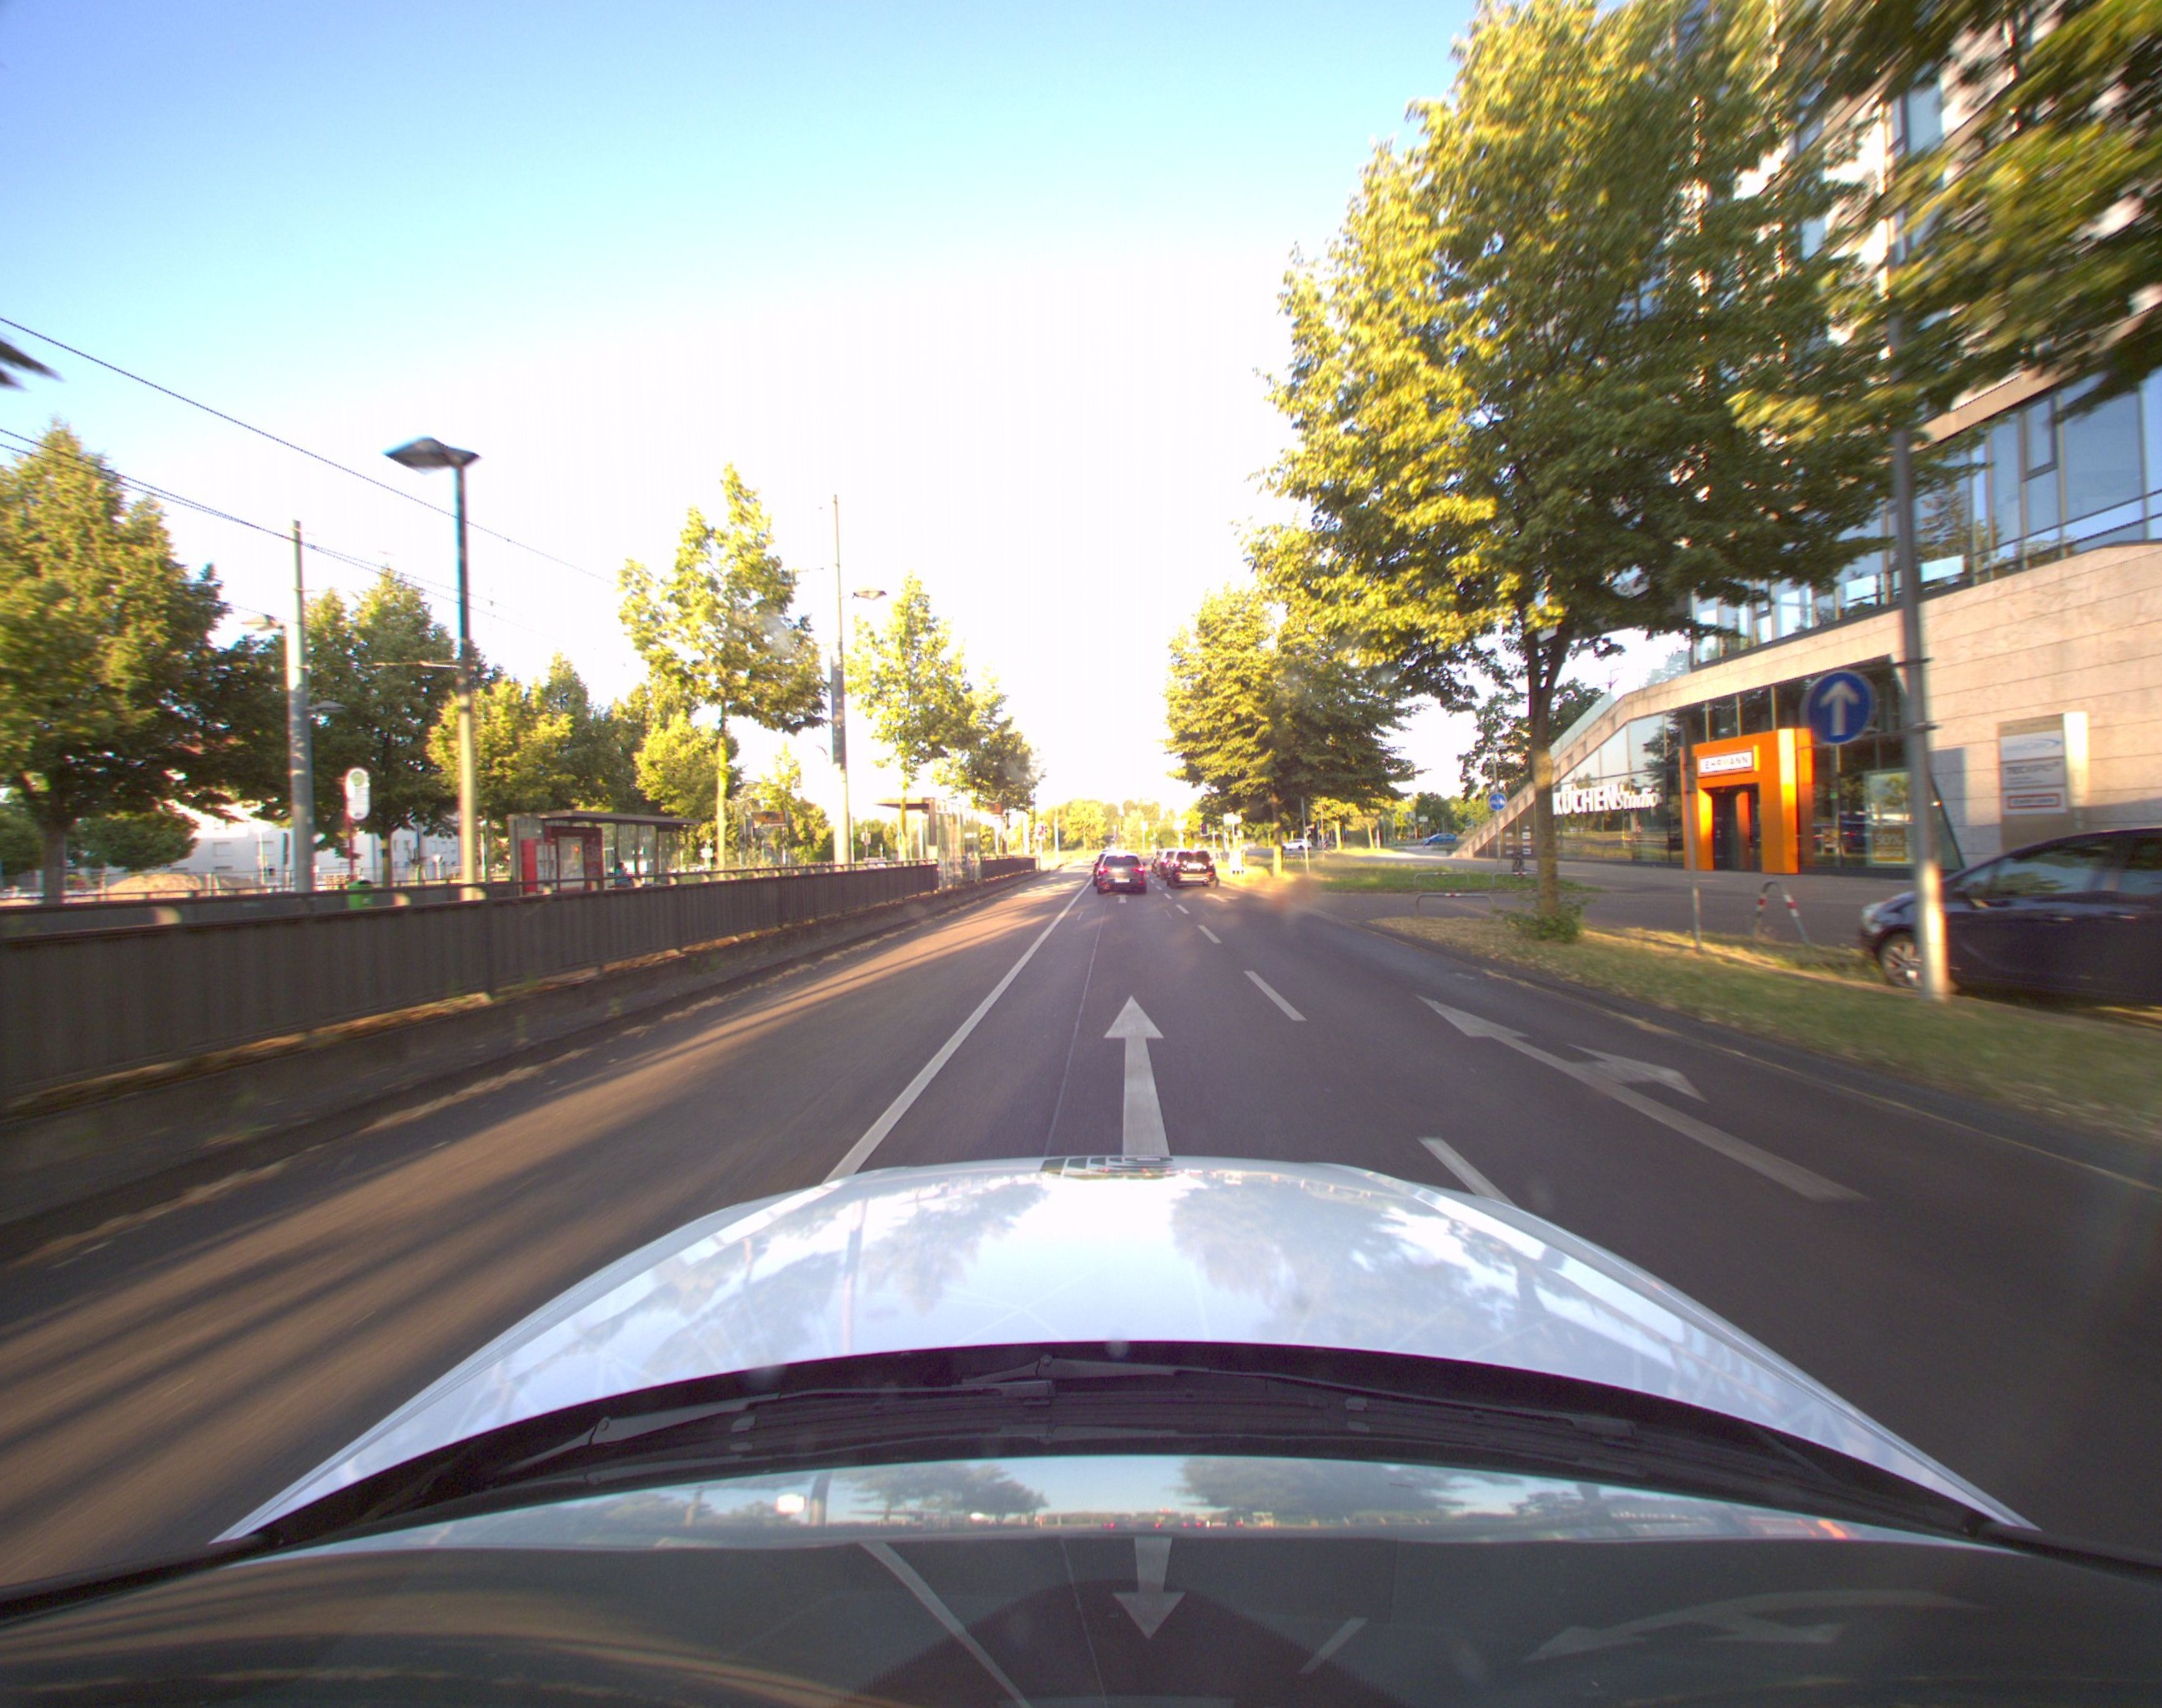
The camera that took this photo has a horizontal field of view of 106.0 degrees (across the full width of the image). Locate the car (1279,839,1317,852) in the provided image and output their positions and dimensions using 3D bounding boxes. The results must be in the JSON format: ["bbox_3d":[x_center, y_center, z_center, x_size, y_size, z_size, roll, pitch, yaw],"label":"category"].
[{"bbox_3d":[28.230,-1.108,105.935,4.383,1.486,1.930,-2,0,41],"label":"car"}]

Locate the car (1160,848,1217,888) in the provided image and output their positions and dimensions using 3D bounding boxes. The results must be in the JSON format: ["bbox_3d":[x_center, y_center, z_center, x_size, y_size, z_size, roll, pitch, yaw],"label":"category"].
[{"bbox_3d":[4.349,0.514,33.406,1.904,1.486,4.002,-2,0,2],"label":"car"}]

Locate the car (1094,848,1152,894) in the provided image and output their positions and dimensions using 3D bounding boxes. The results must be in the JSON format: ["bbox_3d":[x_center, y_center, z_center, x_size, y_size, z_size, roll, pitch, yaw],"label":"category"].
[{"bbox_3d":[1.475,0.566,29.478,1.904,1.486,4.002,-2,0,2],"label":"car"}]

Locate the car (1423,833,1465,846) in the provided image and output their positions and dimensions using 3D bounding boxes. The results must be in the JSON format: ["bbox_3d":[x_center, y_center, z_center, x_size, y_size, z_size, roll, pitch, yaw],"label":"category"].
[{"bbox_3d":[44.800,-1.755,100.464,4.396,1.486,1.924,-2,0,12],"label":"car"}]

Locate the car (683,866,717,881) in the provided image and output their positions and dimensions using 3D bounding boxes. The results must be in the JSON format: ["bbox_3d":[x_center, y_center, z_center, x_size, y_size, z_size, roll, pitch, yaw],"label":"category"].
[{"bbox_3d":[-45.748,2.342,97.793,1.986,1.662,4.002,-2,0,2],"label":"car"}]

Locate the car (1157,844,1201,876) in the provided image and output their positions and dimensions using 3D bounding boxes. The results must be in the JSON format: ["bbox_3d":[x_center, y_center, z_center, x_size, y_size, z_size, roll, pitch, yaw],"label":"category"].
[{"bbox_3d":[4.982,0.286,41.860,1.904,1.486,4.002,-2,0,2],"label":"car"}]

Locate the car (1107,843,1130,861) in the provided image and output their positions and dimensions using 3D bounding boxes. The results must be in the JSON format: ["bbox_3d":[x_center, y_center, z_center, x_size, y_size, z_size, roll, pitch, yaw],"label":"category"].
[{"bbox_3d":[3.231,-0.194,71.332,1.904,1.486,4.002,-2,0,2],"label":"car"}]

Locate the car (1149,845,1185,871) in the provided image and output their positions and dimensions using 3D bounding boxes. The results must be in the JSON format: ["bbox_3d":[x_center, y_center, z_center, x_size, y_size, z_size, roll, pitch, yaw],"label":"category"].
[{"bbox_3d":[5.256,0.196,50.303,1.904,1.486,4.002,-2,0,2],"label":"car"}]

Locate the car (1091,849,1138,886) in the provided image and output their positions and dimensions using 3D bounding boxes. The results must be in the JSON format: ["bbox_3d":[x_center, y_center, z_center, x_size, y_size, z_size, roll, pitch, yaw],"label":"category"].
[{"bbox_3d":[1.445,0.540,35.703,1.904,1.486,4.002,-2,0,2],"label":"car"}]

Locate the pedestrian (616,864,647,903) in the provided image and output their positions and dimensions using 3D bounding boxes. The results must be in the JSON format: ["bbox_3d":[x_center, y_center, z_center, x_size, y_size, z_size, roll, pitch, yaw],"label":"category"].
[{"bbox_3d":[-15.523,1.008,28.163,0.613,1.319,0.744,-2,0,-1],"label":"pedestrian"}]

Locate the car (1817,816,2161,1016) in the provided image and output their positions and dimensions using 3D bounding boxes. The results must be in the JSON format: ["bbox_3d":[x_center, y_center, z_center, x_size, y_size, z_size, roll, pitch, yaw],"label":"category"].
[{"bbox_3d":[8.827,0.424,6.711,1.751,1.466,4.158,-2,0,0],"label":"car"}]

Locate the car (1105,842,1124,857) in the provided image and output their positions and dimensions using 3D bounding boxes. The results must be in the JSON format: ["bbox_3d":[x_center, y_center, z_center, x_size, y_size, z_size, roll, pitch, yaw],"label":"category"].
[{"bbox_3d":[3.590,-0.510,87.512,1.904,1.486,4.002,-2,0,2],"label":"car"}]

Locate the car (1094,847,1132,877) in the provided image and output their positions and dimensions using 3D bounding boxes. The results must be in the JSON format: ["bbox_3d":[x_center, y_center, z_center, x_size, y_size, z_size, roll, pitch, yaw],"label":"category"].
[{"bbox_3d":[1.714,0.377,43.681,1.904,1.486,4.002,-2,0,2],"label":"car"}]
